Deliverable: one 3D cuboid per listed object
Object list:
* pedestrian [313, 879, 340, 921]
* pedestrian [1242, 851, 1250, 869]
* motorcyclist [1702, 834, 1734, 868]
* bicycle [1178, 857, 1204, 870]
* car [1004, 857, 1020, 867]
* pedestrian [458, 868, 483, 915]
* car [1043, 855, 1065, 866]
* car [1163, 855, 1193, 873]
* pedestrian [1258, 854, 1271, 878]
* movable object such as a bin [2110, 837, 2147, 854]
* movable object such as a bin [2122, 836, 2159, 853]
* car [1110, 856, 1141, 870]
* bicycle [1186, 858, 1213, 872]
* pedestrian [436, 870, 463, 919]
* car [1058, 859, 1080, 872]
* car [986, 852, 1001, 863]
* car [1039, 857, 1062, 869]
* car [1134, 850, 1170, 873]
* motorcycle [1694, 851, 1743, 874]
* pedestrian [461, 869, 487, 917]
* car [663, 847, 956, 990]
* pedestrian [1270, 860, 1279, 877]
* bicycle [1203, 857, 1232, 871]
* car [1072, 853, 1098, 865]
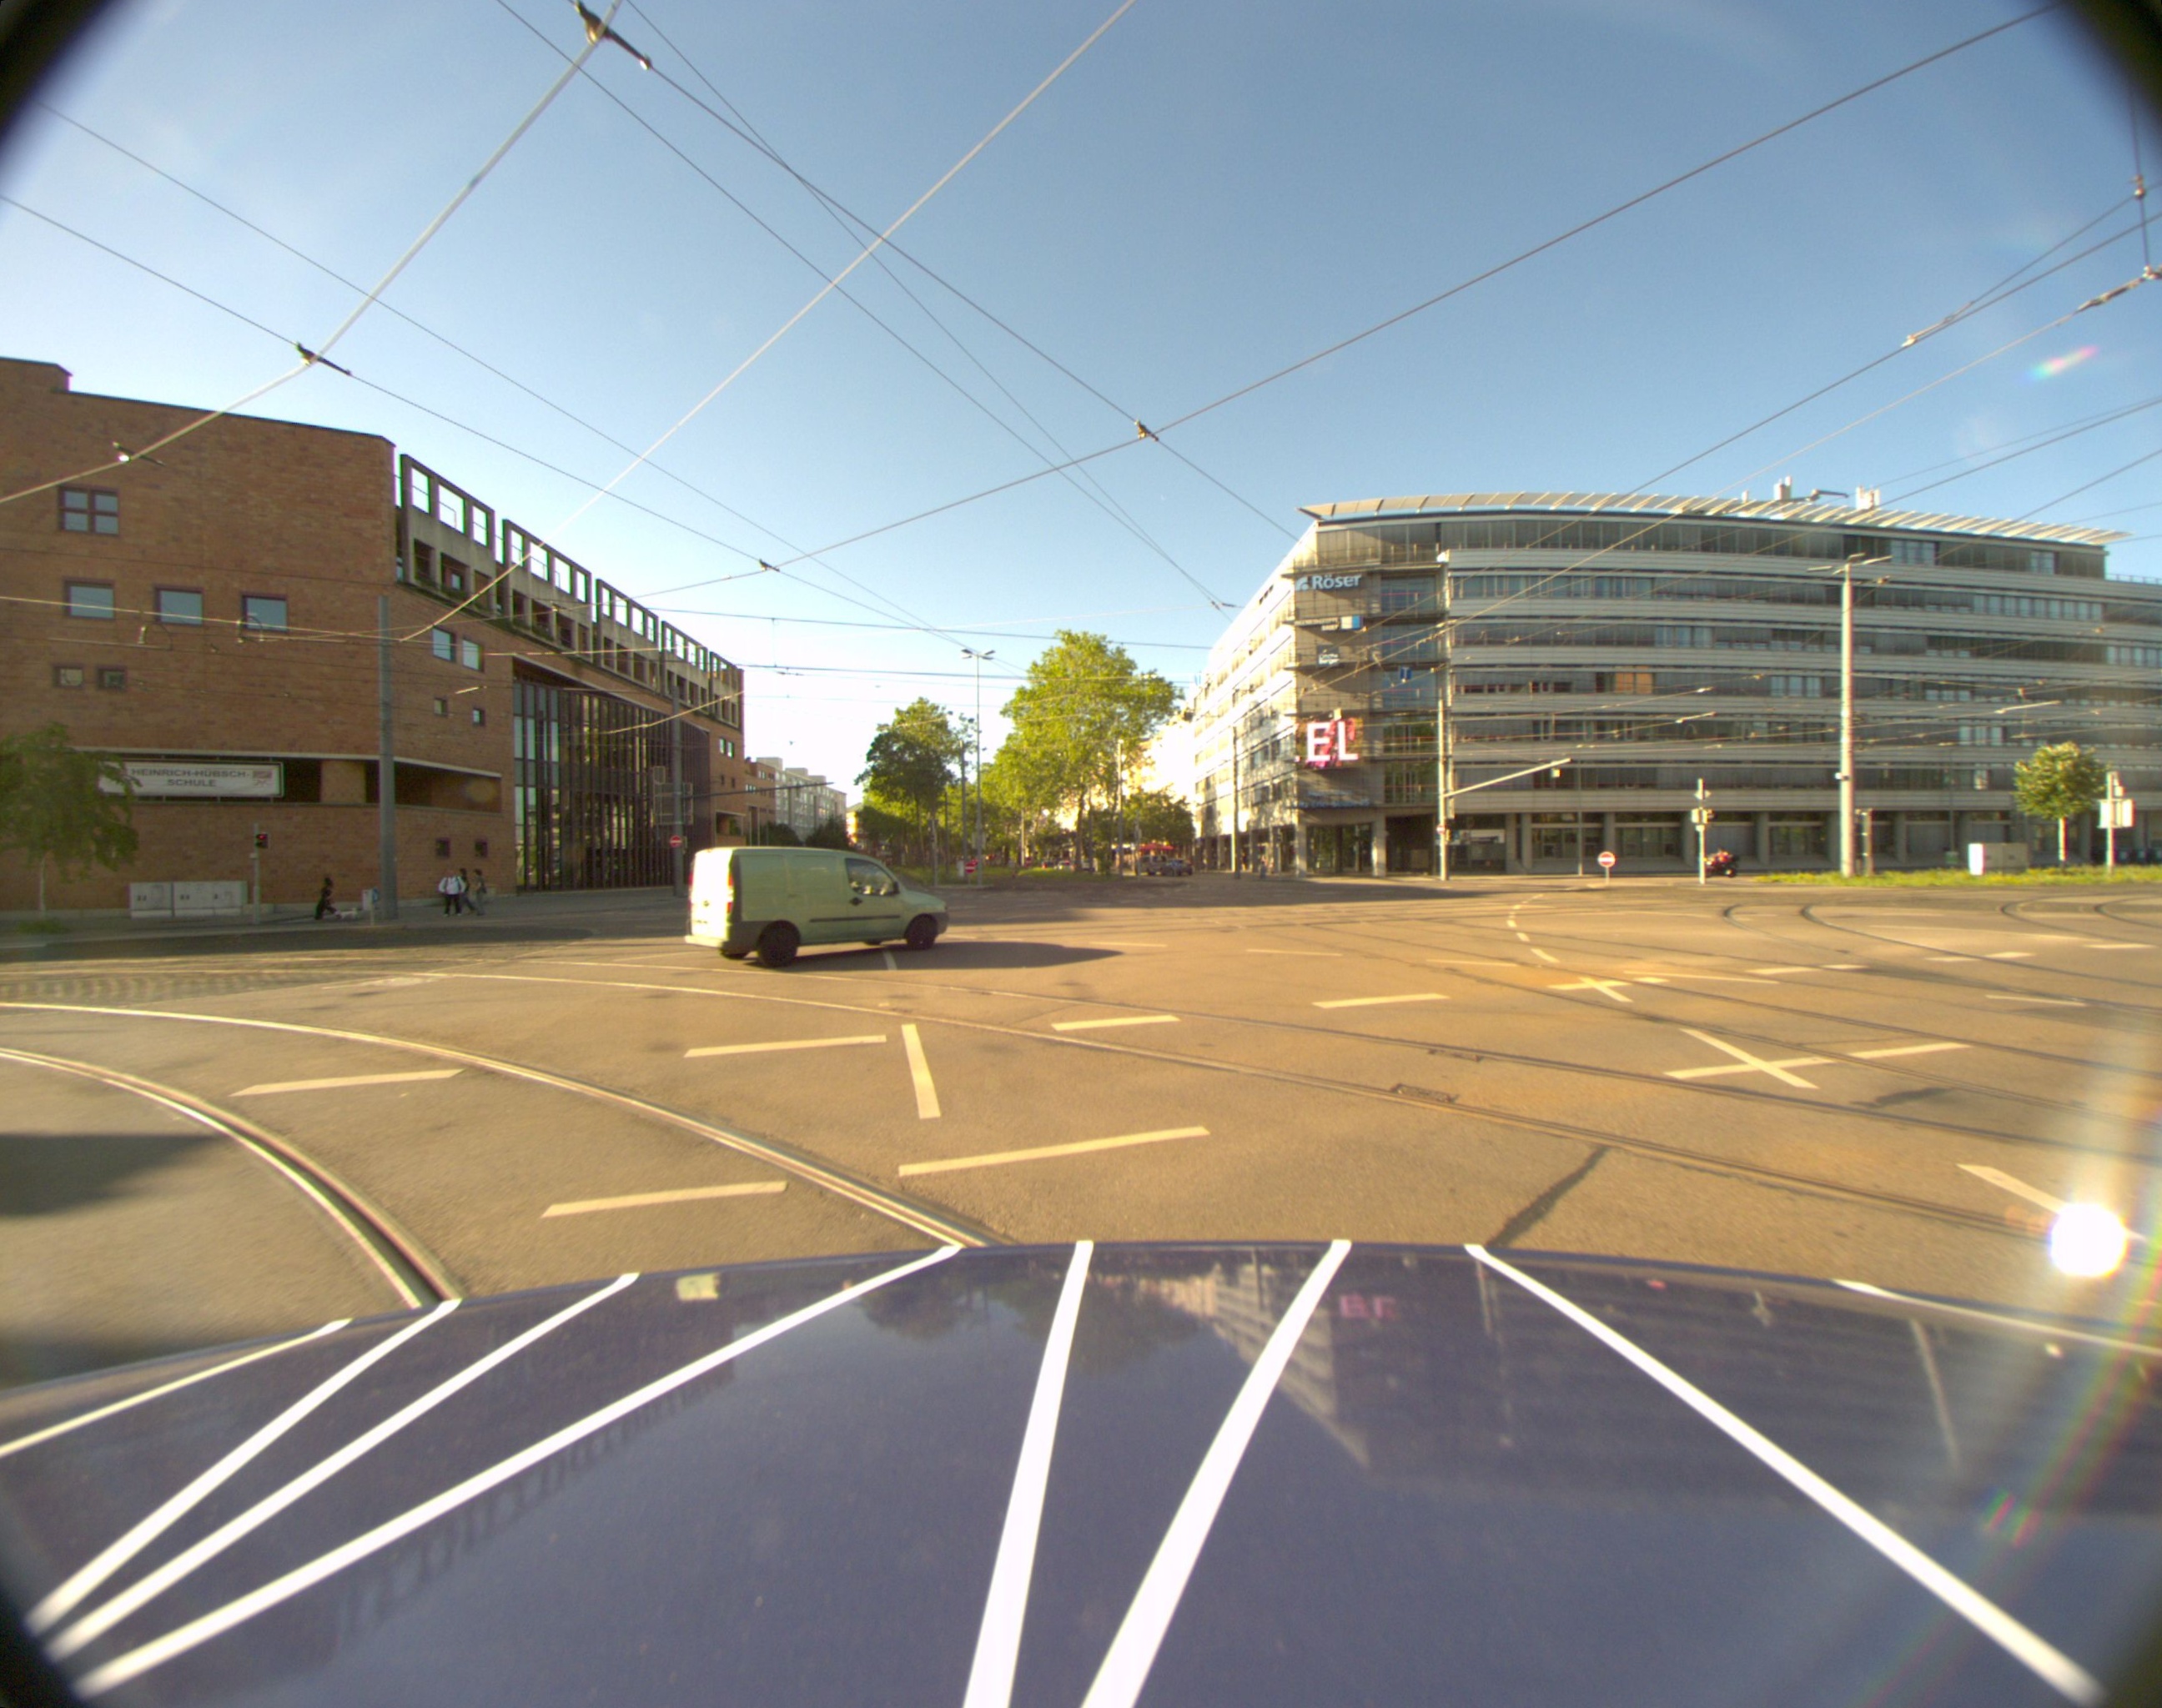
[{"bbox_3d":[-27.589,1.668,27.801,0.574,1.468,0.548,-1,0,-34],"label":"pedestrian"},{"bbox_3d":[16.270,0.590,75.144,0.586,1.723,0.793,-2,-1,3],"label":"pedestrian"},{"bbox_3d":[35.544,-0.188,42.397,1.112,1.847,0.821,-2,1,-8],"label":"motorcyclist"},{"bbox_3d":[10.536,0.926,72.770,2.397,1.206,0.774,-1,-1,-23],"label":"bicycle"},{"bbox_3d":[-10.811,1.184,118.685,1.702,1.466,3.976,-2,0,-18],"label":"car"},{"bbox_3d":[-23.558,1.433,29.345,0.550,1.776,0.572,-2,1,-24],"label":"pedestrian"},{"bbox_3d":[-3.981,0.955,111.216,1.869,1.466,3.971,-2,0,-21],"label":"car"},{"bbox_3d":[8.374,0.877,66.024,1.866,1.466,3.976,-2,0,-4],"label":"car"},{"bbox_3d":[13.023,0.842,53.960,0.661,1.630,0.793,-1,0,-9],"label":"pedestrian"},{"bbox_3d":[82.194,-0.664,59.632,1.328,1.293,1.173,-2,0,-5],"label":"movable object such as a bin"},{"bbox_3d":[83.519,-0.714,59.909,1.328,1.293,1.173,-2,0,-5],"label":"movable object such as a bin"},{"bbox_3d":[4.893,0.987,84.435,1.869,1.466,3.971,-2,0,-21],"label":"car"},{"bbox_3d":[10.872,0.986,69.714,2.397,1.206,0.774,-1,-1,-23],"label":"bicycle"},{"bbox_3d":[-23.499,1.489,28.277,0.550,1.776,0.572,-2,1,-24],"label":"pedestrian"},{"bbox_3d":[-1.335,1.268,83.328,1.667,1.380,3.533,0,0,-13],"label":"car"},{"bbox_3d":[-16.771,0.687,145.079,1.825,1.758,4.309,-2,-2,-21],"label":"car"},{"bbox_3d":[-3.810,1.089,93.854,1.868,1.466,3.972,-2,0,-15],"label":"car"},{"bbox_3d":[6.629,0.702,71.404,1.868,2.004,4.451,-2,0,-16],"label":"car"},{"bbox_3d":[35.591,0.469,42.415,2.255,1.214,0.821,-2,1,-8],"label":"motorcycle"},{"bbox_3d":[-22.807,1.450,28.560,0.550,1.776,0.572,-2,1,-24],"label":"pedestrian"},{"bbox_3d":[-4.309,0.879,12.575,1.839,1.826,4.115,0,3,42],"label":"car"},{"bbox_3d":[13.663,1.023,53.664,0.443,1.203,0.461,-1,0,-9],"label":"pedestrian"},{"bbox_3d":[12.300,0.928,68.443,2.393,1.206,0.775,-1,-1,-3],"label":"bicycle"},{"bbox_3d":[0.449,0.662,94.557,1.869,1.466,3.971,-2,0,-21],"label":"car"}]
